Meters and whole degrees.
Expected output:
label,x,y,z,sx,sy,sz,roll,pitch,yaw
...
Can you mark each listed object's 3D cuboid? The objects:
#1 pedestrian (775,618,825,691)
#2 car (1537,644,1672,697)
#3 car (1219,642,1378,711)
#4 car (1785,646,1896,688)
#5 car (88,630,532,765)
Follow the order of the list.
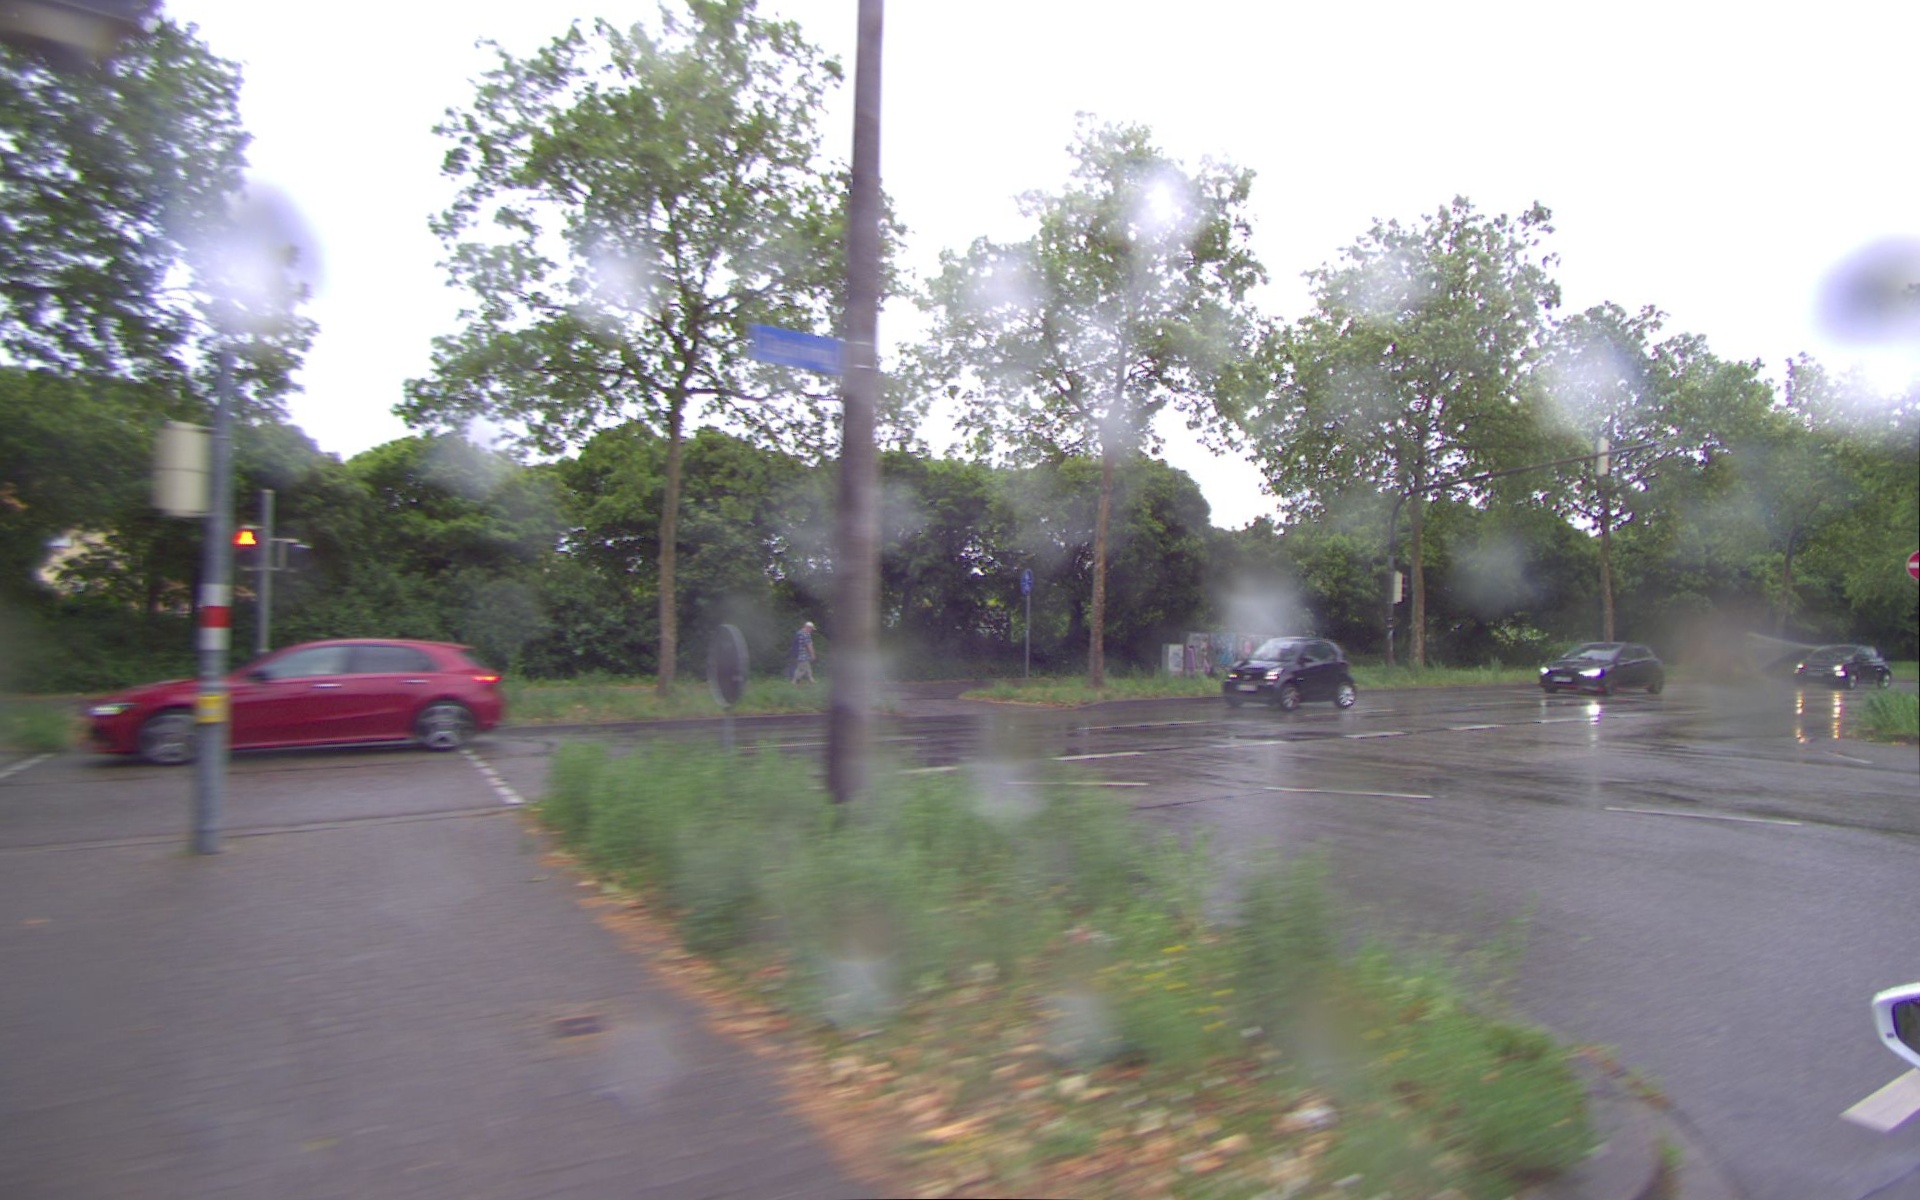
label,x,y,z,sx,sy,sz,roll,pitch,yaw
pedestrian,-3.771,1.281,23.717,0.889,1.696,0.826,2,-2,-31
car,18.502,2.022,28.787,4.213,1.391,1.579,3,-2,-31
car,7.490,1.660,22.172,3.296,1.391,1.579,3,-2,-31
car,31.208,2.374,35.581,4.209,1.391,1.581,3,-2,-28
car,-7.946,1.153,12.701,4.398,1.426,1.733,3,-2,-34
